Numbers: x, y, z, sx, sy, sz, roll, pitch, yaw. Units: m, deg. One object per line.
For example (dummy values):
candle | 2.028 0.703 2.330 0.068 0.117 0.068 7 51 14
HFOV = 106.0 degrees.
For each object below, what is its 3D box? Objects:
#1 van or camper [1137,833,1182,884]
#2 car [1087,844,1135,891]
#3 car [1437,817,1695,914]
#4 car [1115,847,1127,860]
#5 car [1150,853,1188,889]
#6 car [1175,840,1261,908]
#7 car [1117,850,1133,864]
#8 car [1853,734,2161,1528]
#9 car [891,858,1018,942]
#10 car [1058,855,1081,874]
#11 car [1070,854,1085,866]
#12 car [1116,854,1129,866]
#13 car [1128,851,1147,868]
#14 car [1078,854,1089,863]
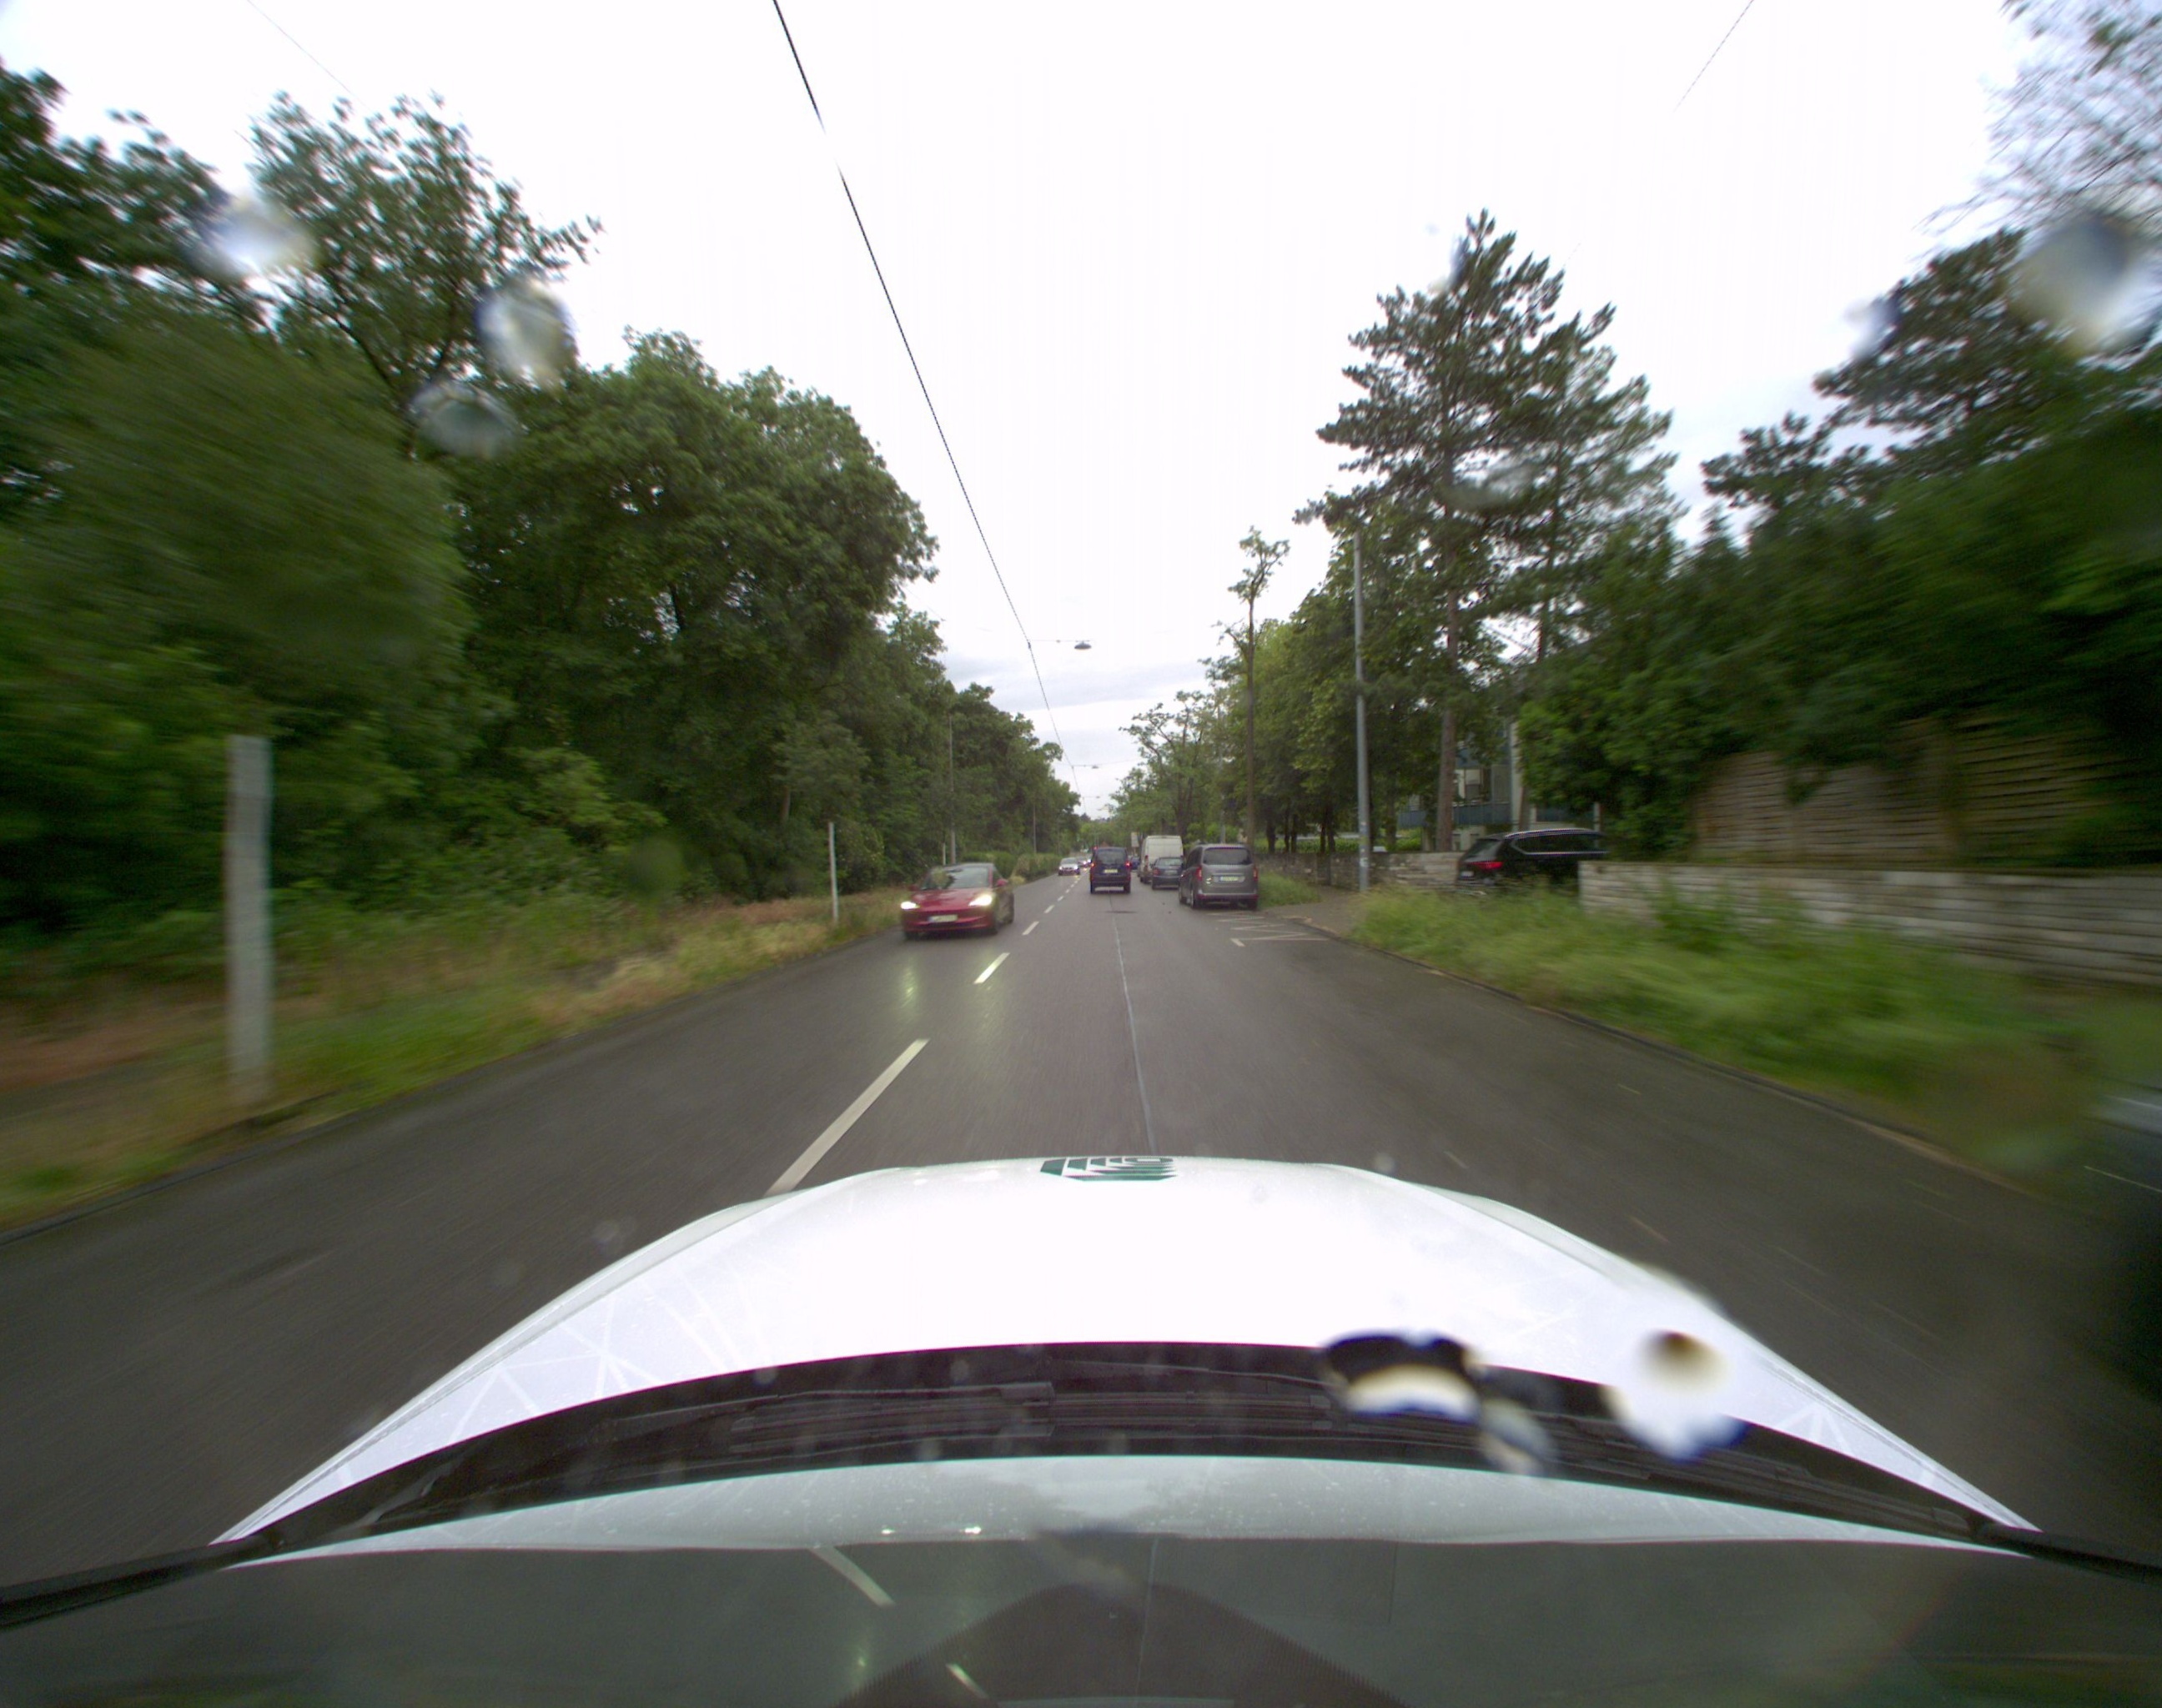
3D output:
van or camper | 4.228 0.201 44.481 2.071 2.650 5.348 0 1 1
car | 1.185 0.489 33.457 1.762 1.830 3.540 0 1 -1
car | 10.304 0.239 17.592 4.293 1.682 2.001 -4 -1 1
car | 7.529 -0.091 154.684 2.197 2.449 4.731 -2 0 2
car | 3.923 0.729 36.728 1.618 1.464 3.813 0 1 5
car | 3.910 0.513 23.925 1.809 1.813 4.282 0 1 0
car | 4.898 0.337 90.613 1.613 1.508 3.834 0 1 0
car | 3.177 0.618 0.317 1.767 1.723 4.329 0 1 2
car | -2.518 0.868 17.260 1.853 1.480 4.158 -2 0 2
car | -0.956 0.898 68.570 1.777 1.479 3.968 -2 -1 1
car | -0.445 0.773 108.598 1.723 1.492 4.001 -3 1 1
car | 5.383 0.752 106.394 1.627 1.510 2.957 0 1 0
car | 5.344 0.476 77.568 1.714 1.505 4.052 0 1 2
car | 0.478 0.774 145.098 1.849 1.468 4.449 -4 1 2
